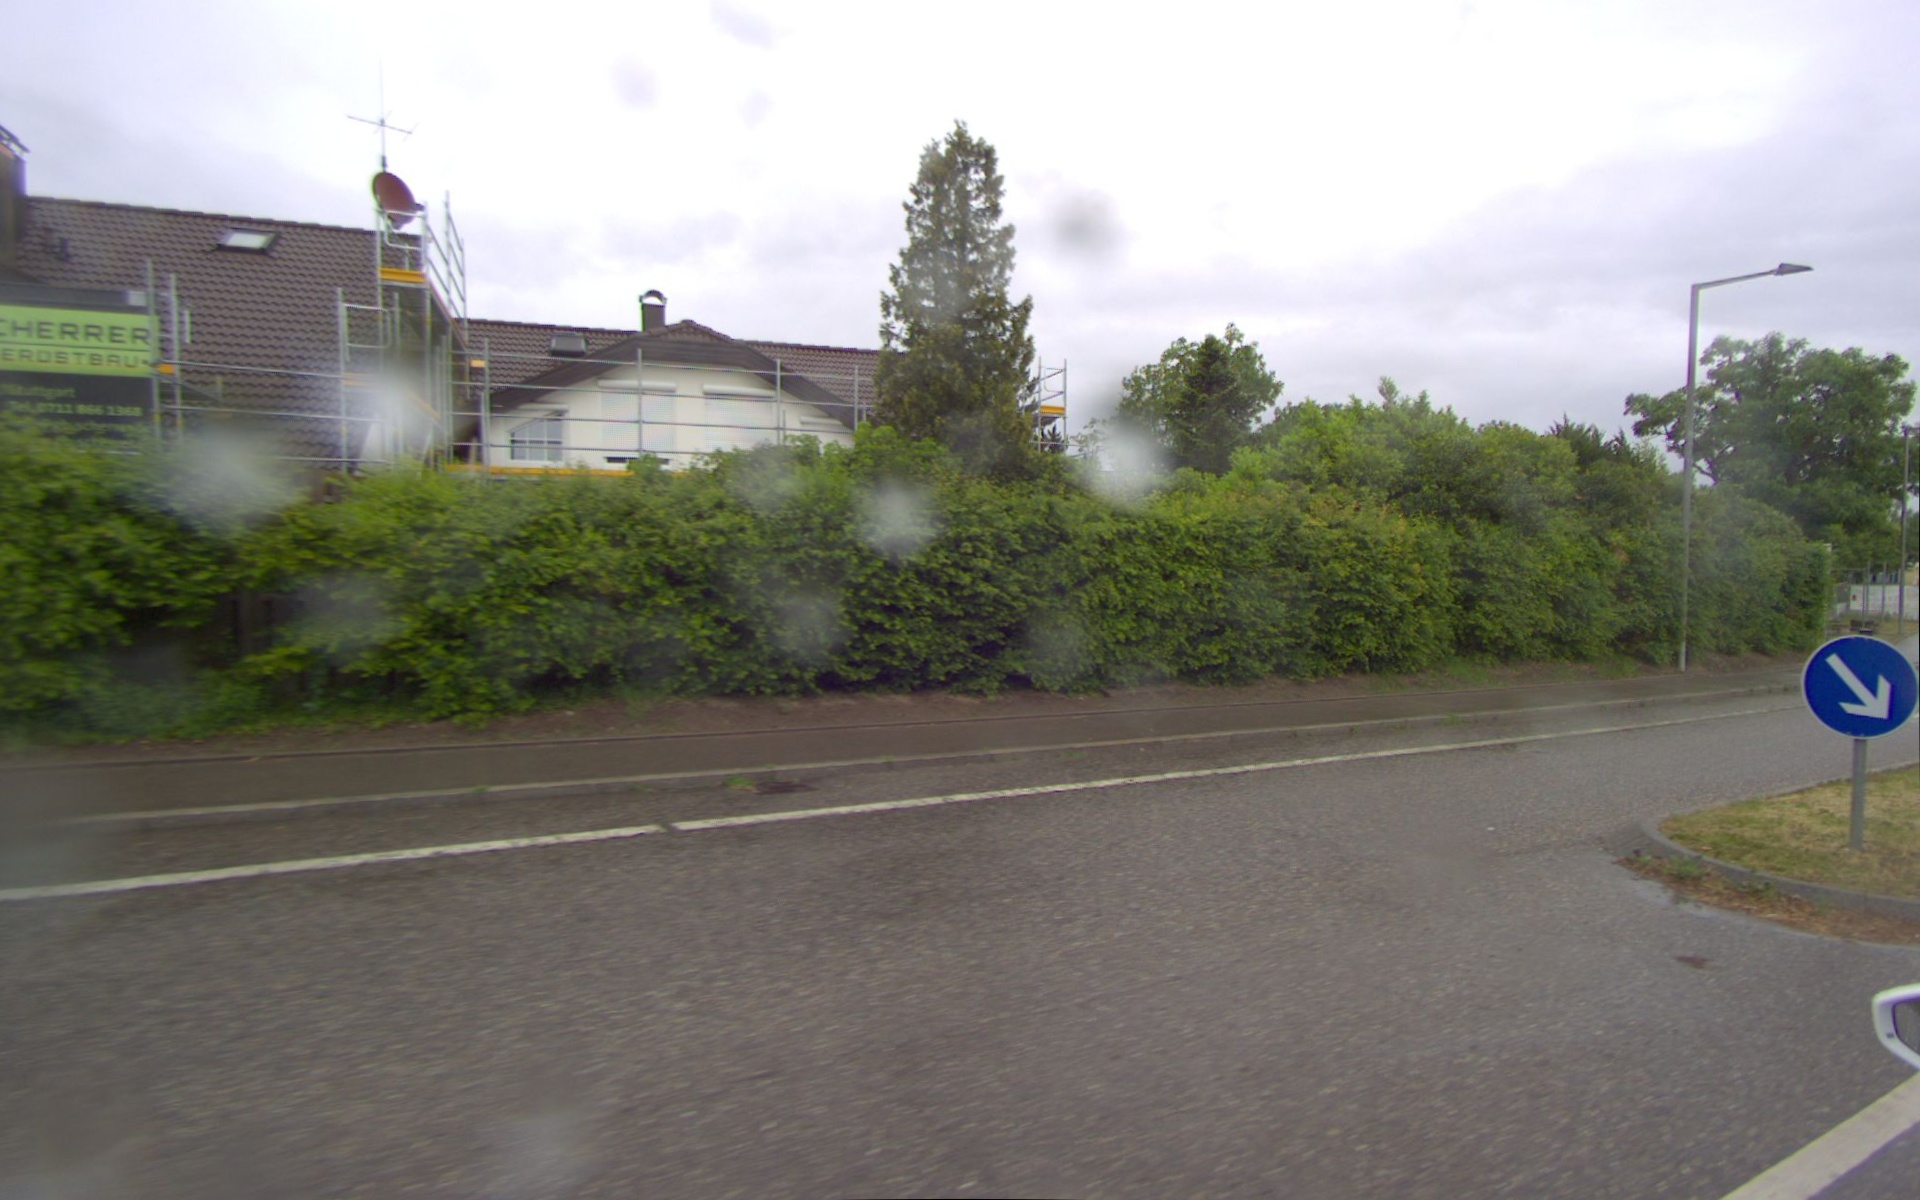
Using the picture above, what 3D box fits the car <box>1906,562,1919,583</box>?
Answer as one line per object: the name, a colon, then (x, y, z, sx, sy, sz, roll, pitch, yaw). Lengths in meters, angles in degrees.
car: (112.917, -3.135, 115.651, 1.983, 2.436, 5.629, 1, 1, -39)
